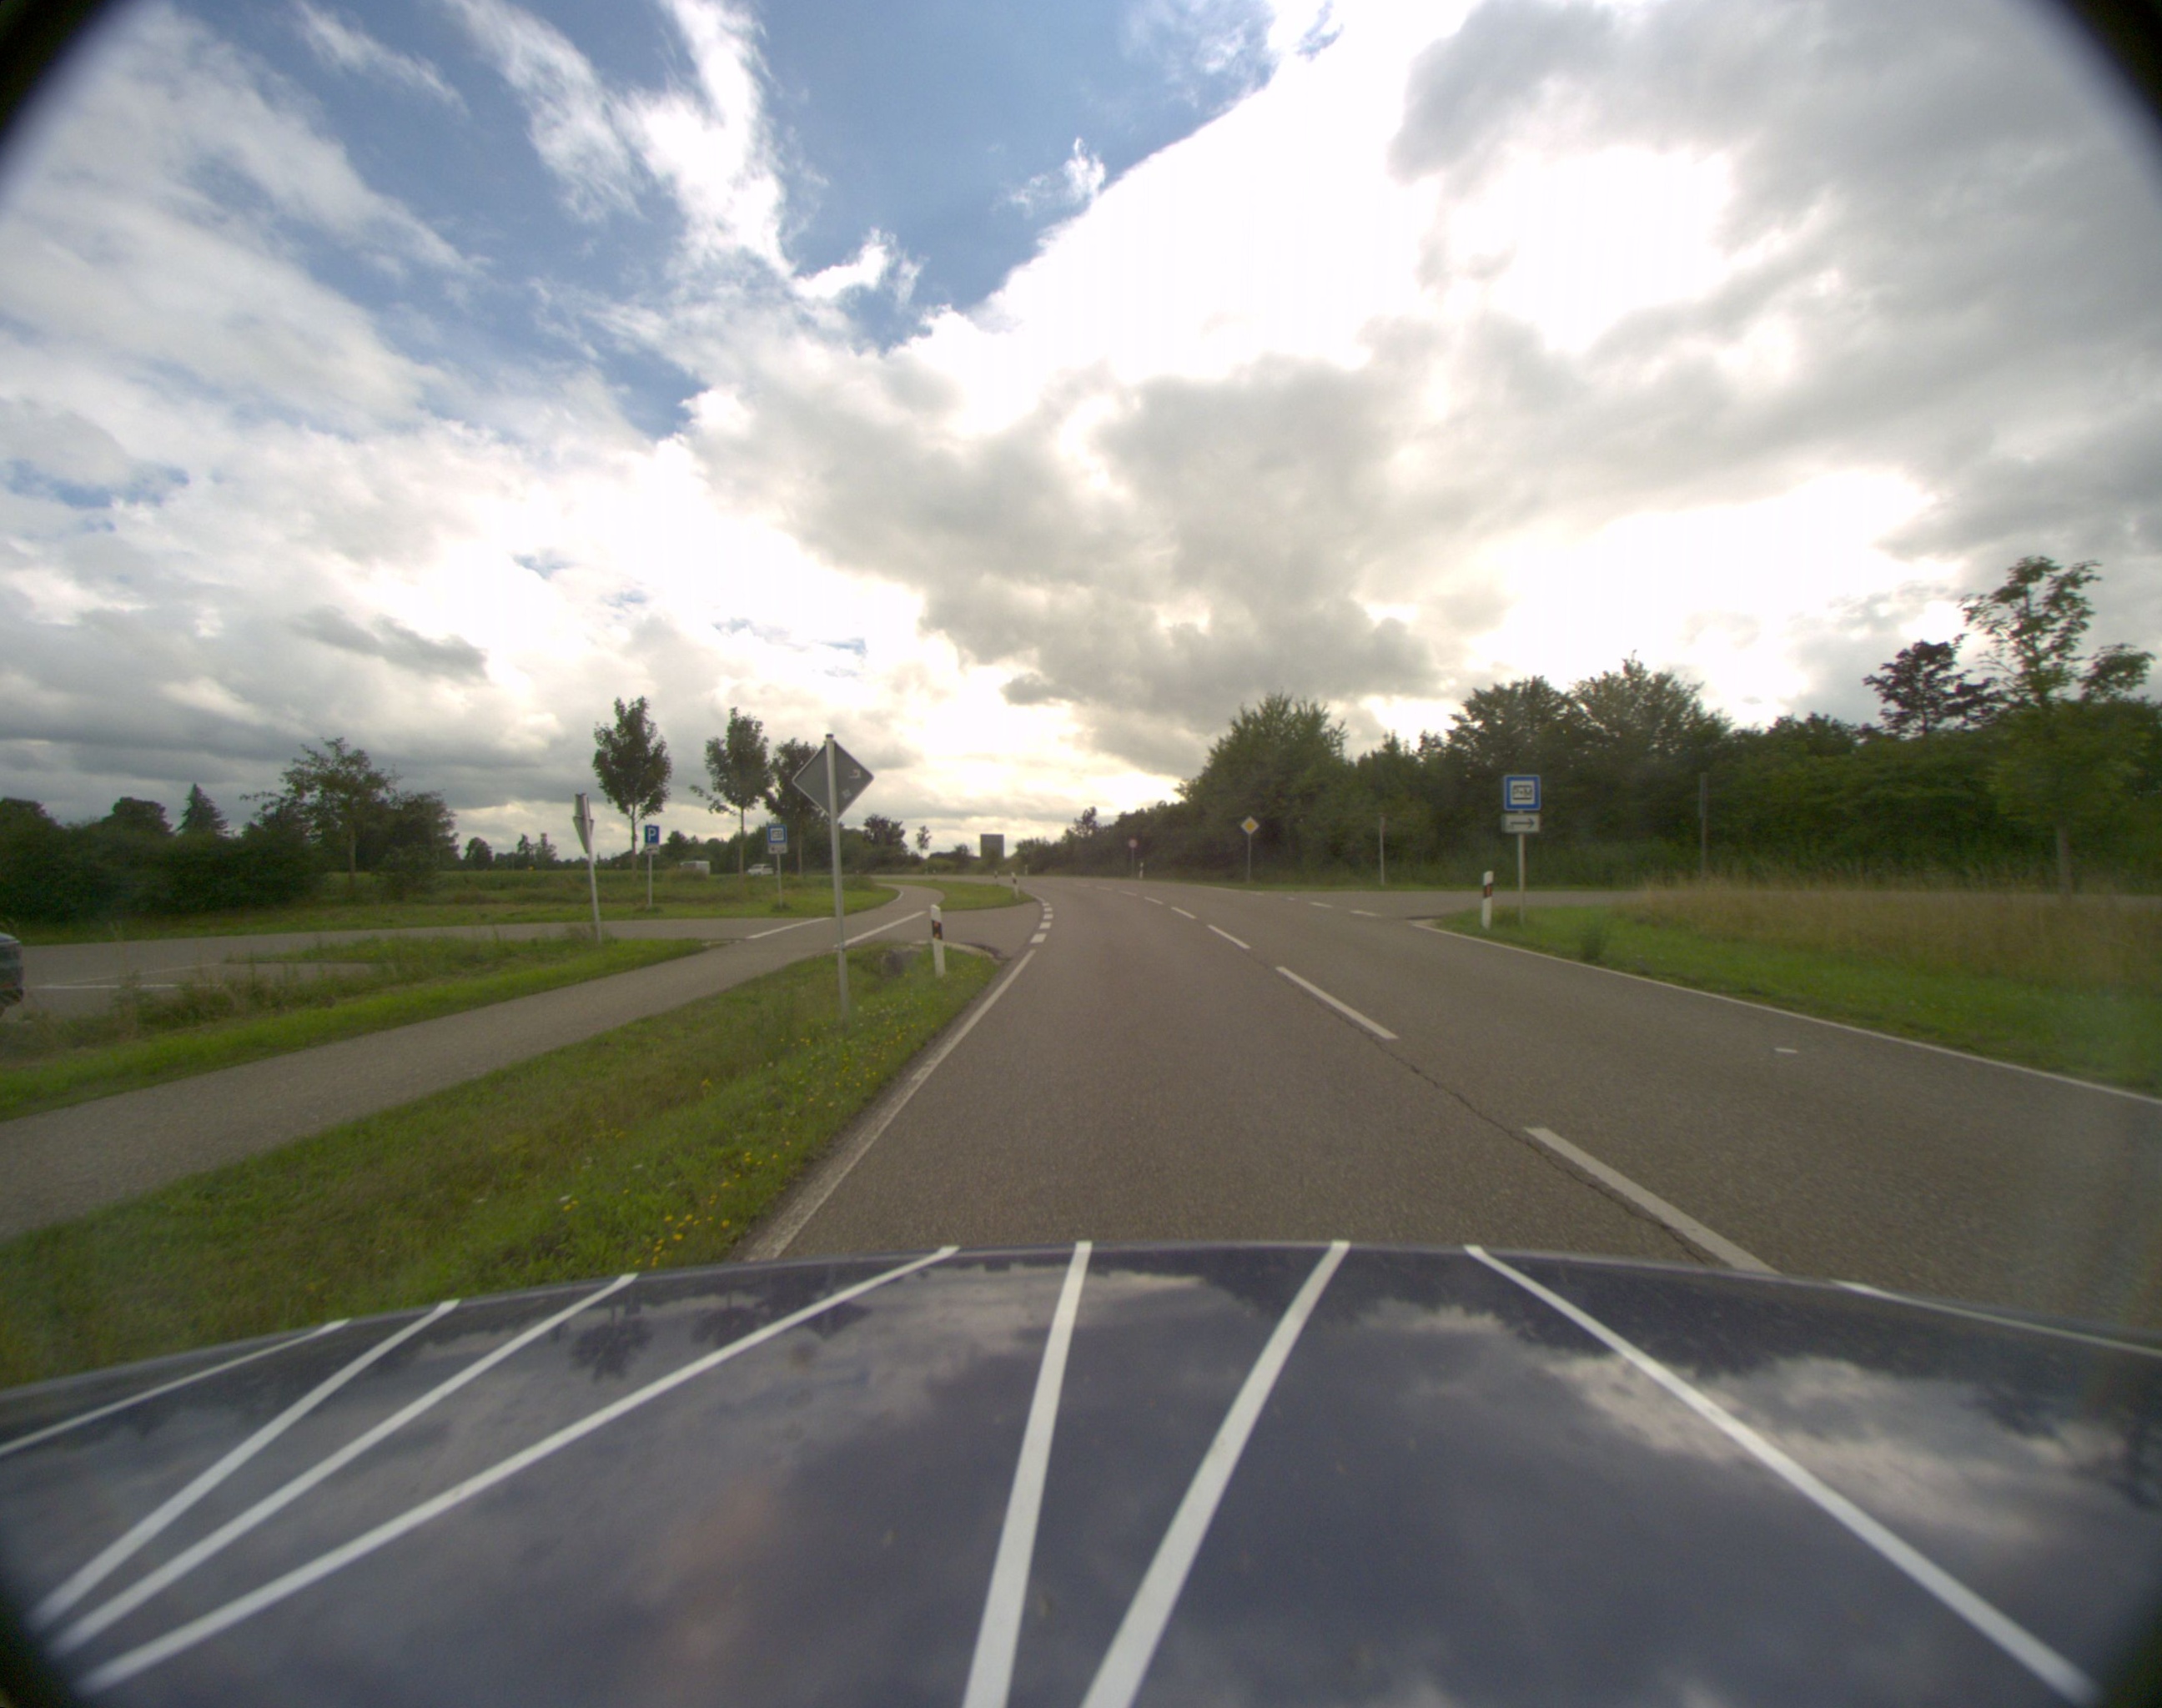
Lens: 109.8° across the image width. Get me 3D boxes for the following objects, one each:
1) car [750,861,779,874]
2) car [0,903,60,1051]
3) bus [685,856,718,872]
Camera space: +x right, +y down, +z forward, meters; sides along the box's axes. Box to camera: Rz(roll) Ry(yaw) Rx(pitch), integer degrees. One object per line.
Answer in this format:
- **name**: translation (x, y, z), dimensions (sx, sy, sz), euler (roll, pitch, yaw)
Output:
- **car**: translation (-50.987, 2.165, 122.240), dimensions (5.172, 1.858, 2.124), euler (-1, 0, 41)
- **car**: translation (-13.774, 1.346, 7.689), dimensions (4.283, 1.557, 1.837), euler (0, 0, -1)
- **bus**: translation (-68.426, 1.860, 136.881), dimensions (8.406, 2.695, 2.488), euler (-1, 0, 43)
